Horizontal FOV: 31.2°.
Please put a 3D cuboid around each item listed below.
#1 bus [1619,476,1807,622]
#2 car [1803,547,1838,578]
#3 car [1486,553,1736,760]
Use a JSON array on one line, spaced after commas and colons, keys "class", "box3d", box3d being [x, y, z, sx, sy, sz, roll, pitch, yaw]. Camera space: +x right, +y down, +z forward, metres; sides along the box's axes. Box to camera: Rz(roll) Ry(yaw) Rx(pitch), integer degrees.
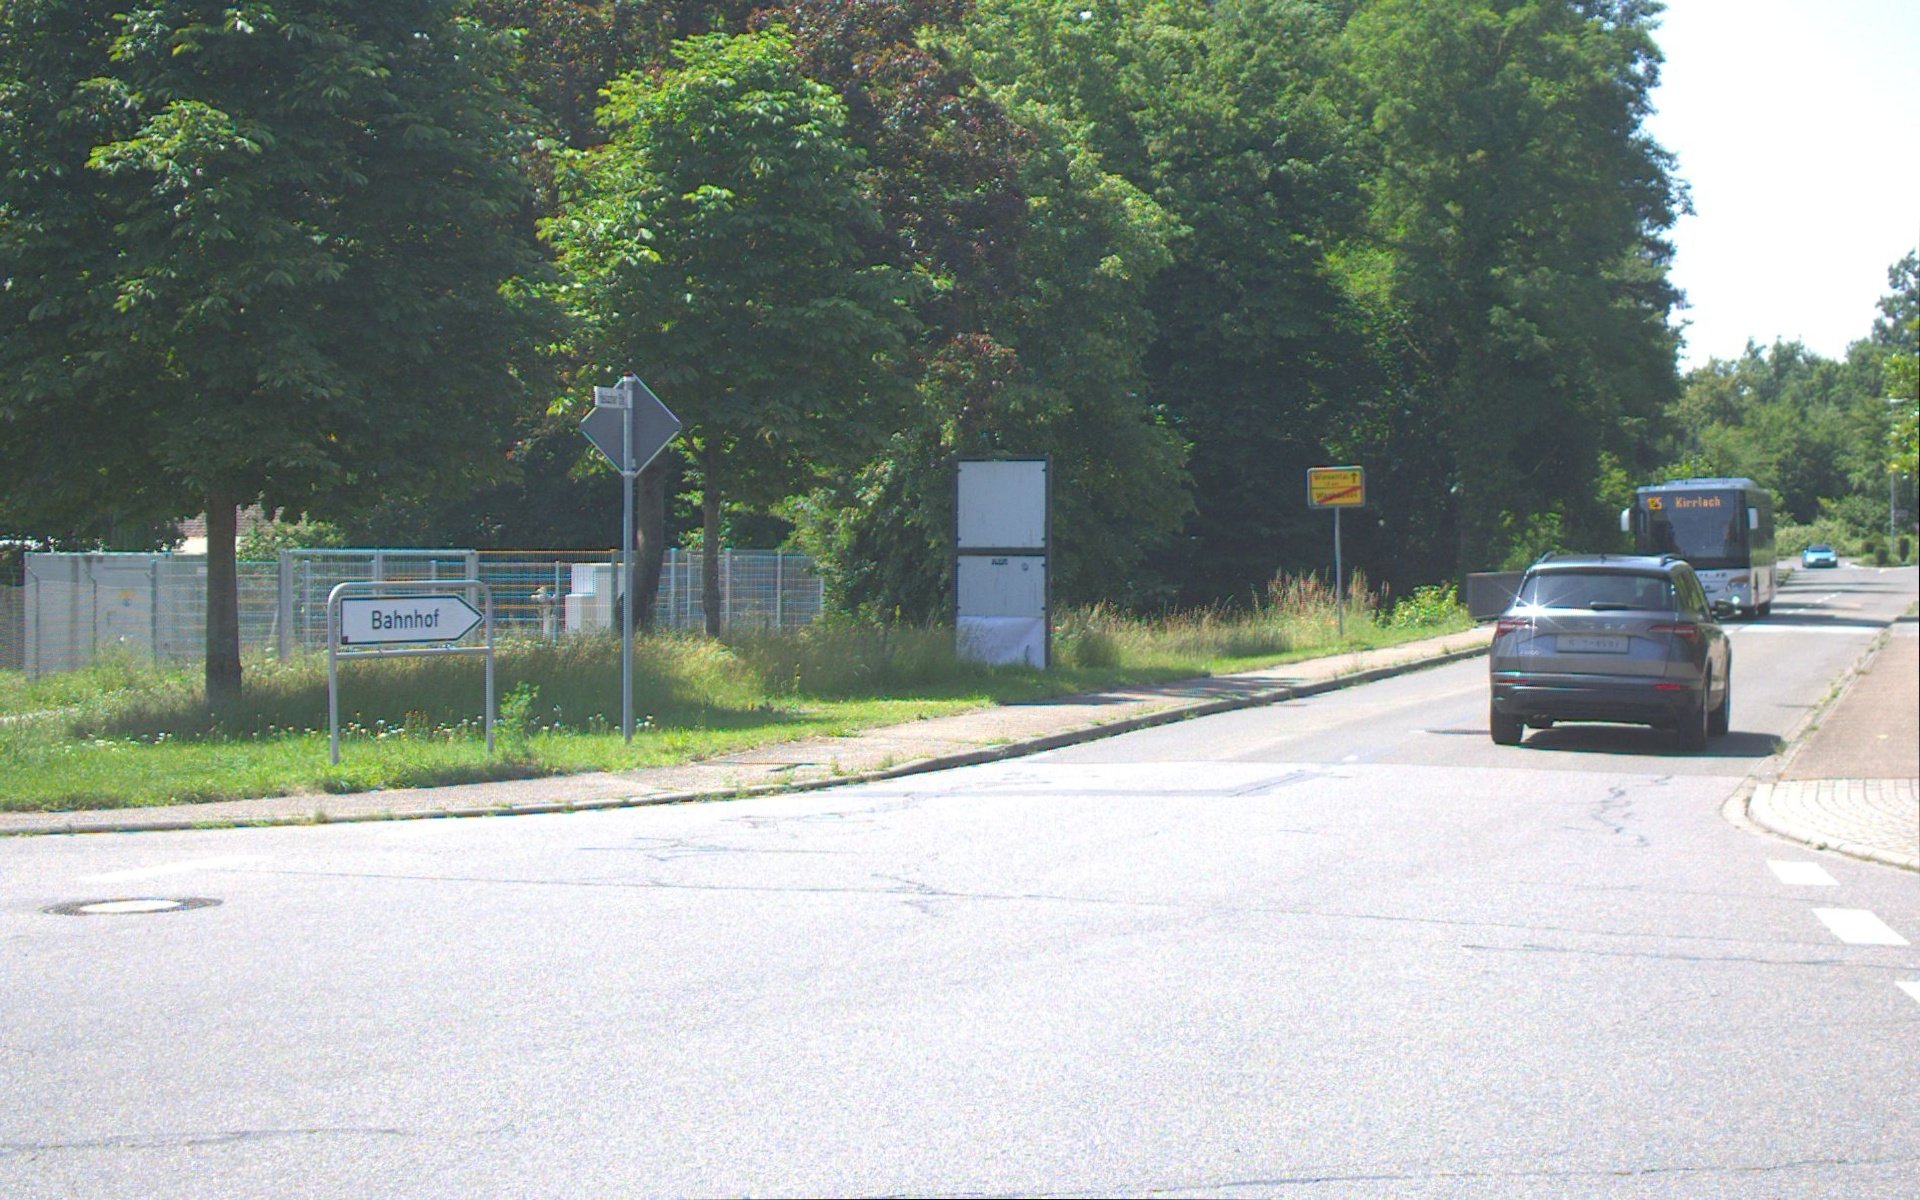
[{"class": "bus", "box3d": [18.251, -1.208, 82.617, 3.184, 3.233, 12.701, 0, 1, 18]}, {"class": "car", "box3d": [52.024, -2.273, 207.909, 1.952, 1.853, 3.998, 0, 1, 13]}, {"class": "car", "box3d": [5.672, 0.447, 29.642, 1.763, 1.612, 3.997, 2, 1, 15]}]
